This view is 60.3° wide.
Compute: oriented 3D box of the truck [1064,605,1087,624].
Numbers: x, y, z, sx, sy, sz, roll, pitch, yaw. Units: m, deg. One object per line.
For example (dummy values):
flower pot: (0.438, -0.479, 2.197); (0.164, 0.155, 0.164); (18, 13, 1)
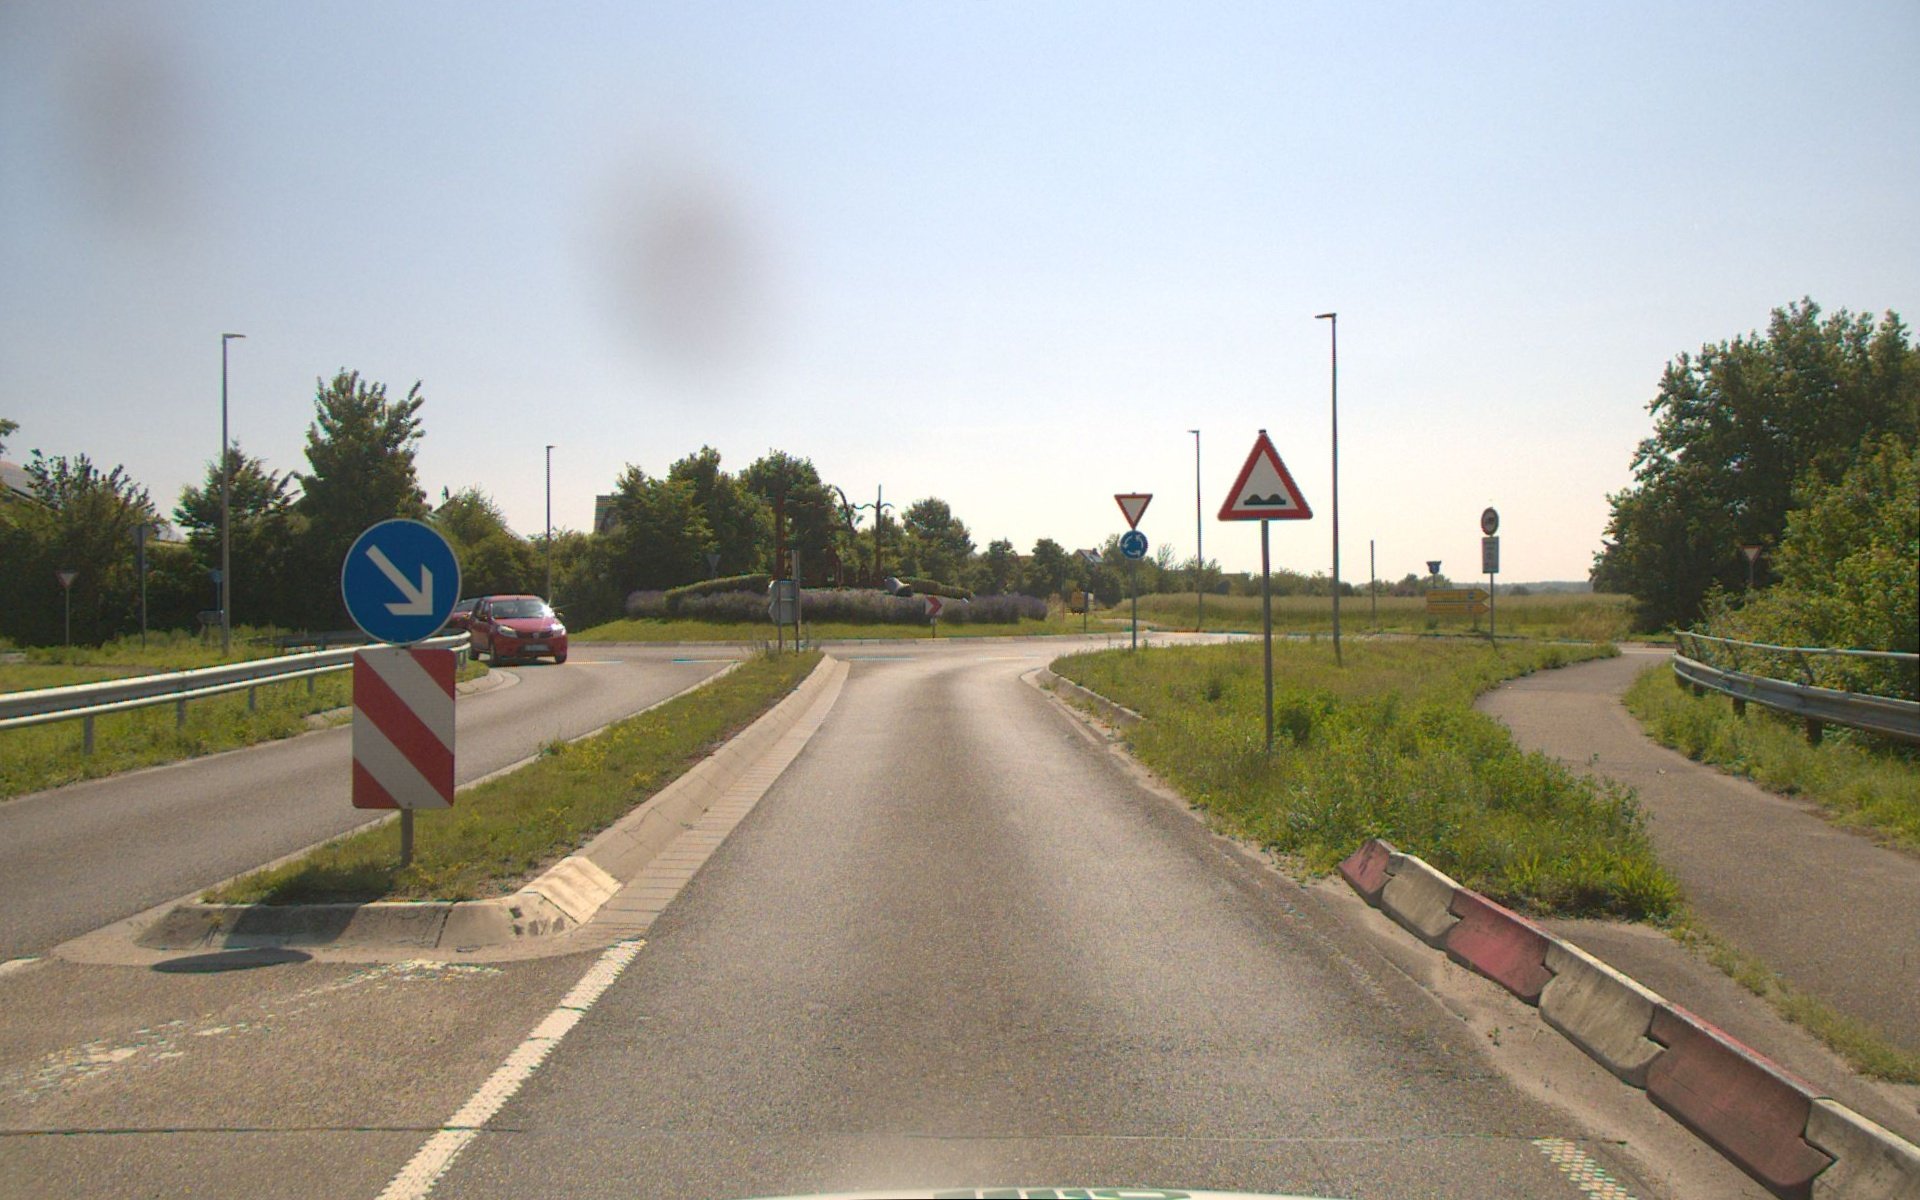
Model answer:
truck: (13.169, 1.698, 188.253); (1.951, 2.049, 4.003); (0, -2, 14)

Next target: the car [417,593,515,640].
car: (-17.288, 0.549, 58.043); (1.707, 1.549, 3.834); (-2, 0, 11)

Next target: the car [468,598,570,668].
car: (-10.319, 0.777, 38.554); (1.607, 1.517, 3.771); (-1, -1, -26)
